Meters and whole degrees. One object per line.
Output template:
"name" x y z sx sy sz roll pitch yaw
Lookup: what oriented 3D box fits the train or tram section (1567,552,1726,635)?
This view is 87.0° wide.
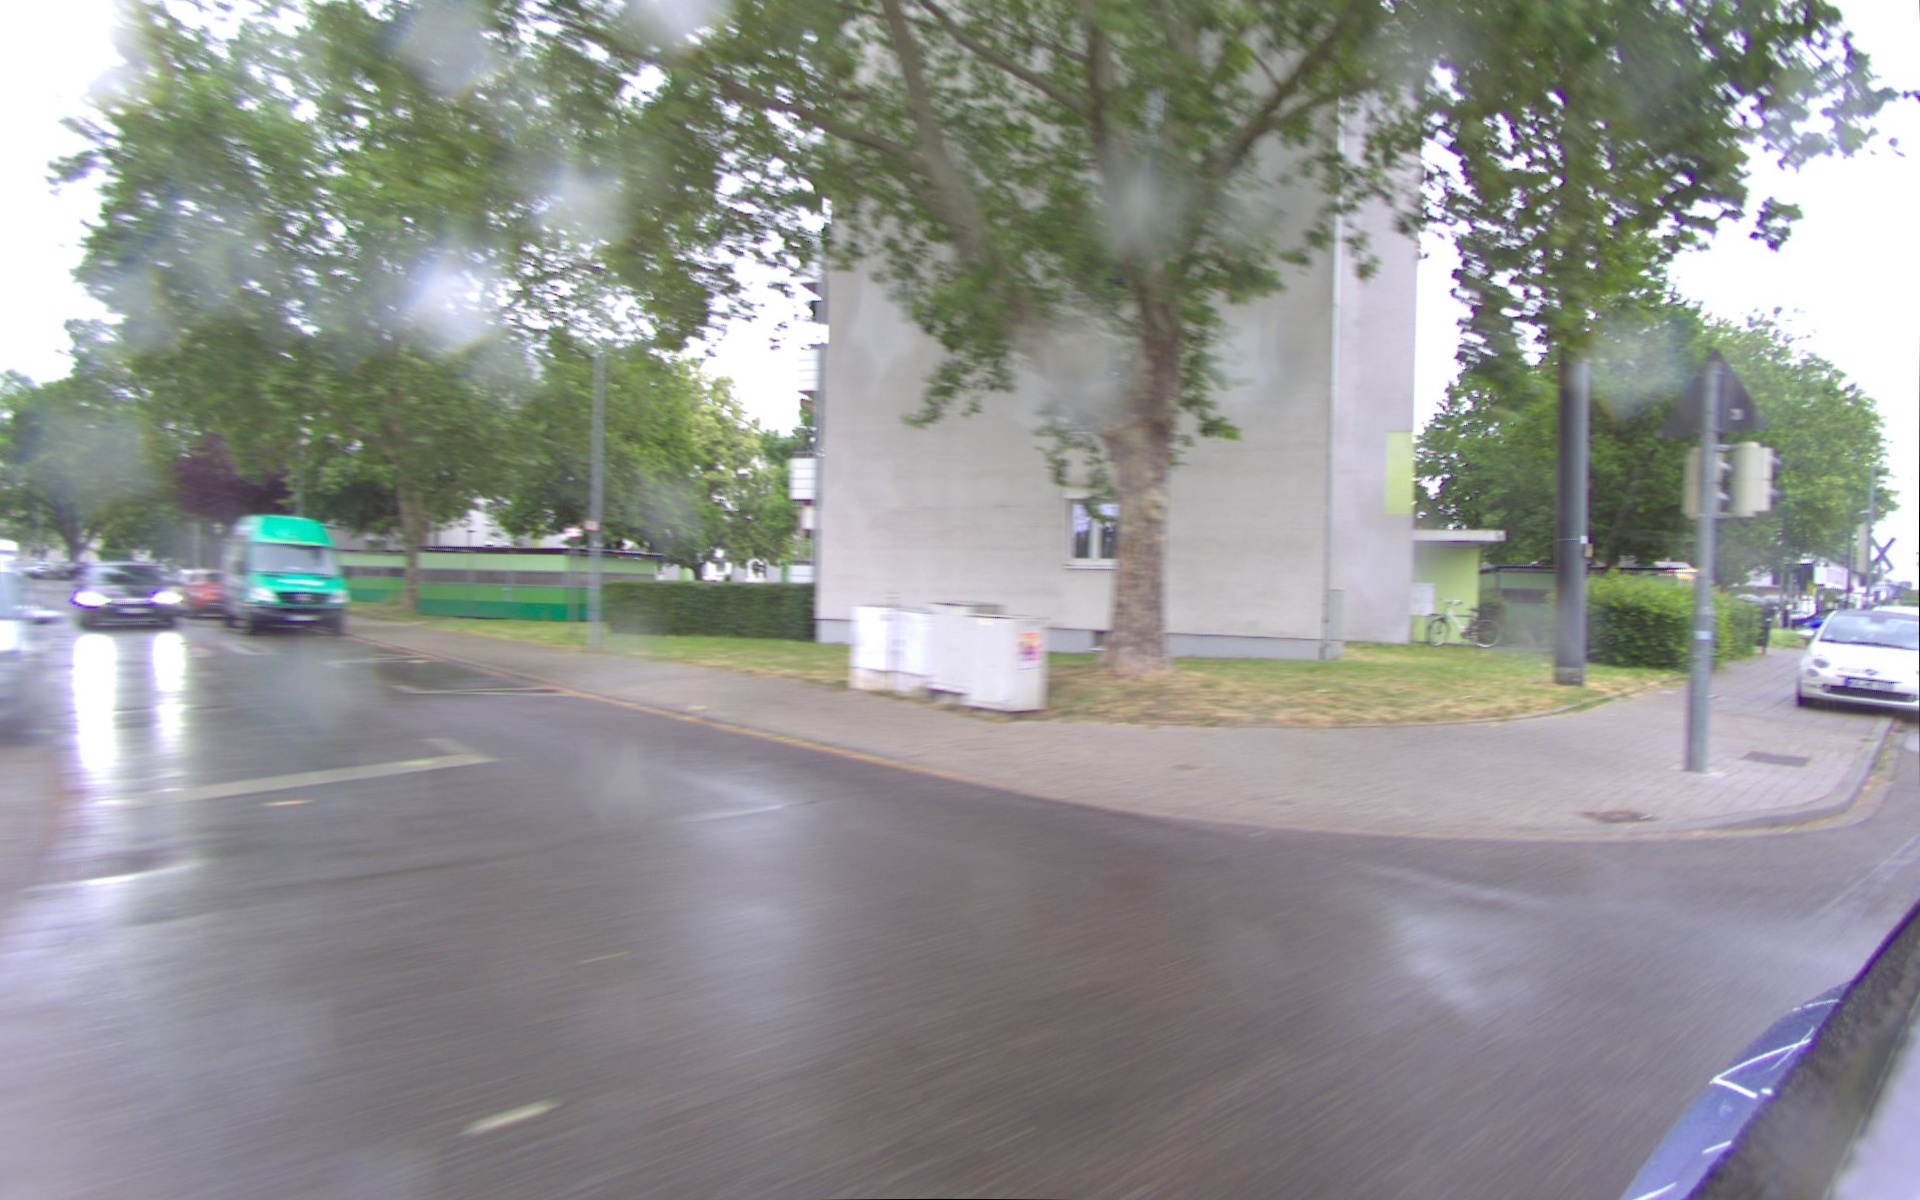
"train or tram section" 30.397 -0.343 45.207 2.706 3.381 6.400 2 1 1

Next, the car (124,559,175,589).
"car" -40.230 -1.303 50.221 1.710 1.409 3.998 1 2 -42

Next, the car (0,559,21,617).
"car" -27.462 -0.381 28.314 1.657 1.524 4.297 1 2 -44

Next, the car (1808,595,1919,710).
"car" 14.240 0.741 15.538 1.559 1.538 3.936 3 2 44

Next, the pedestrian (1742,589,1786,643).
"pedestrian" 27.993 0.547 35.237 0.850 1.797 1.018 1 1 -40

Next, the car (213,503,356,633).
"car" -16.762 -0.773 24.929 2.149 2.813 6.131 1 1 -41

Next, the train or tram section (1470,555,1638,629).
"train or tram section" 30.529 -0.477 52.757 2.706 3.381 10.350 2 1 1

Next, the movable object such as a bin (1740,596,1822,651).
"movable object such as a bin" 23.381 0.638 28.851 1.133 1.458 1.474 2 1 6

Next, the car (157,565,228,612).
"car" -27.154 -0.437 35.749 1.710 1.524 4.000 1 2 -41

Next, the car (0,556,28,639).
"car" -20.052 -0.120 20.263 1.904 1.524 4.301 1 2 -41

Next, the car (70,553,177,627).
"car" -20.813 -0.283 25.126 1.747 1.671 3.991 1 1 -44

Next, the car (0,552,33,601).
"car" -32.397 -0.833 34.044 1.657 1.524 4.297 1 2 -44

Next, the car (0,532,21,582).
"car" -52.153 -2.362 54.674 2.045 2.613 4.917 1 2 -43

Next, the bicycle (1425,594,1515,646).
"bicycle" 12.161 0.465 24.164 1.839 1.156 0.529 2 0 22

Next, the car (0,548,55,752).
"car" -9.931 0.337 9.656 1.839 1.701 4.301 1 2 -41

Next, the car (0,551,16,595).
"car" -38.381 -1.104 39.865 1.657 1.676 4.297 1 2 -44

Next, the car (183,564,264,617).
"car" -23.173 -0.327 31.777 1.710 1.524 4.000 1 2 -41

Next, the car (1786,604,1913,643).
"car" 40.547 1.060 46.229 3.940 1.546 1.713 2 1 13

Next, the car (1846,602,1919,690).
"car" 17.773 0.825 18.721 1.900 1.467 4.118 3 2 43

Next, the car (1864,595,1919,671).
"car" 22.127 0.754 23.219 1.900 1.594 4.047 3 1 43
